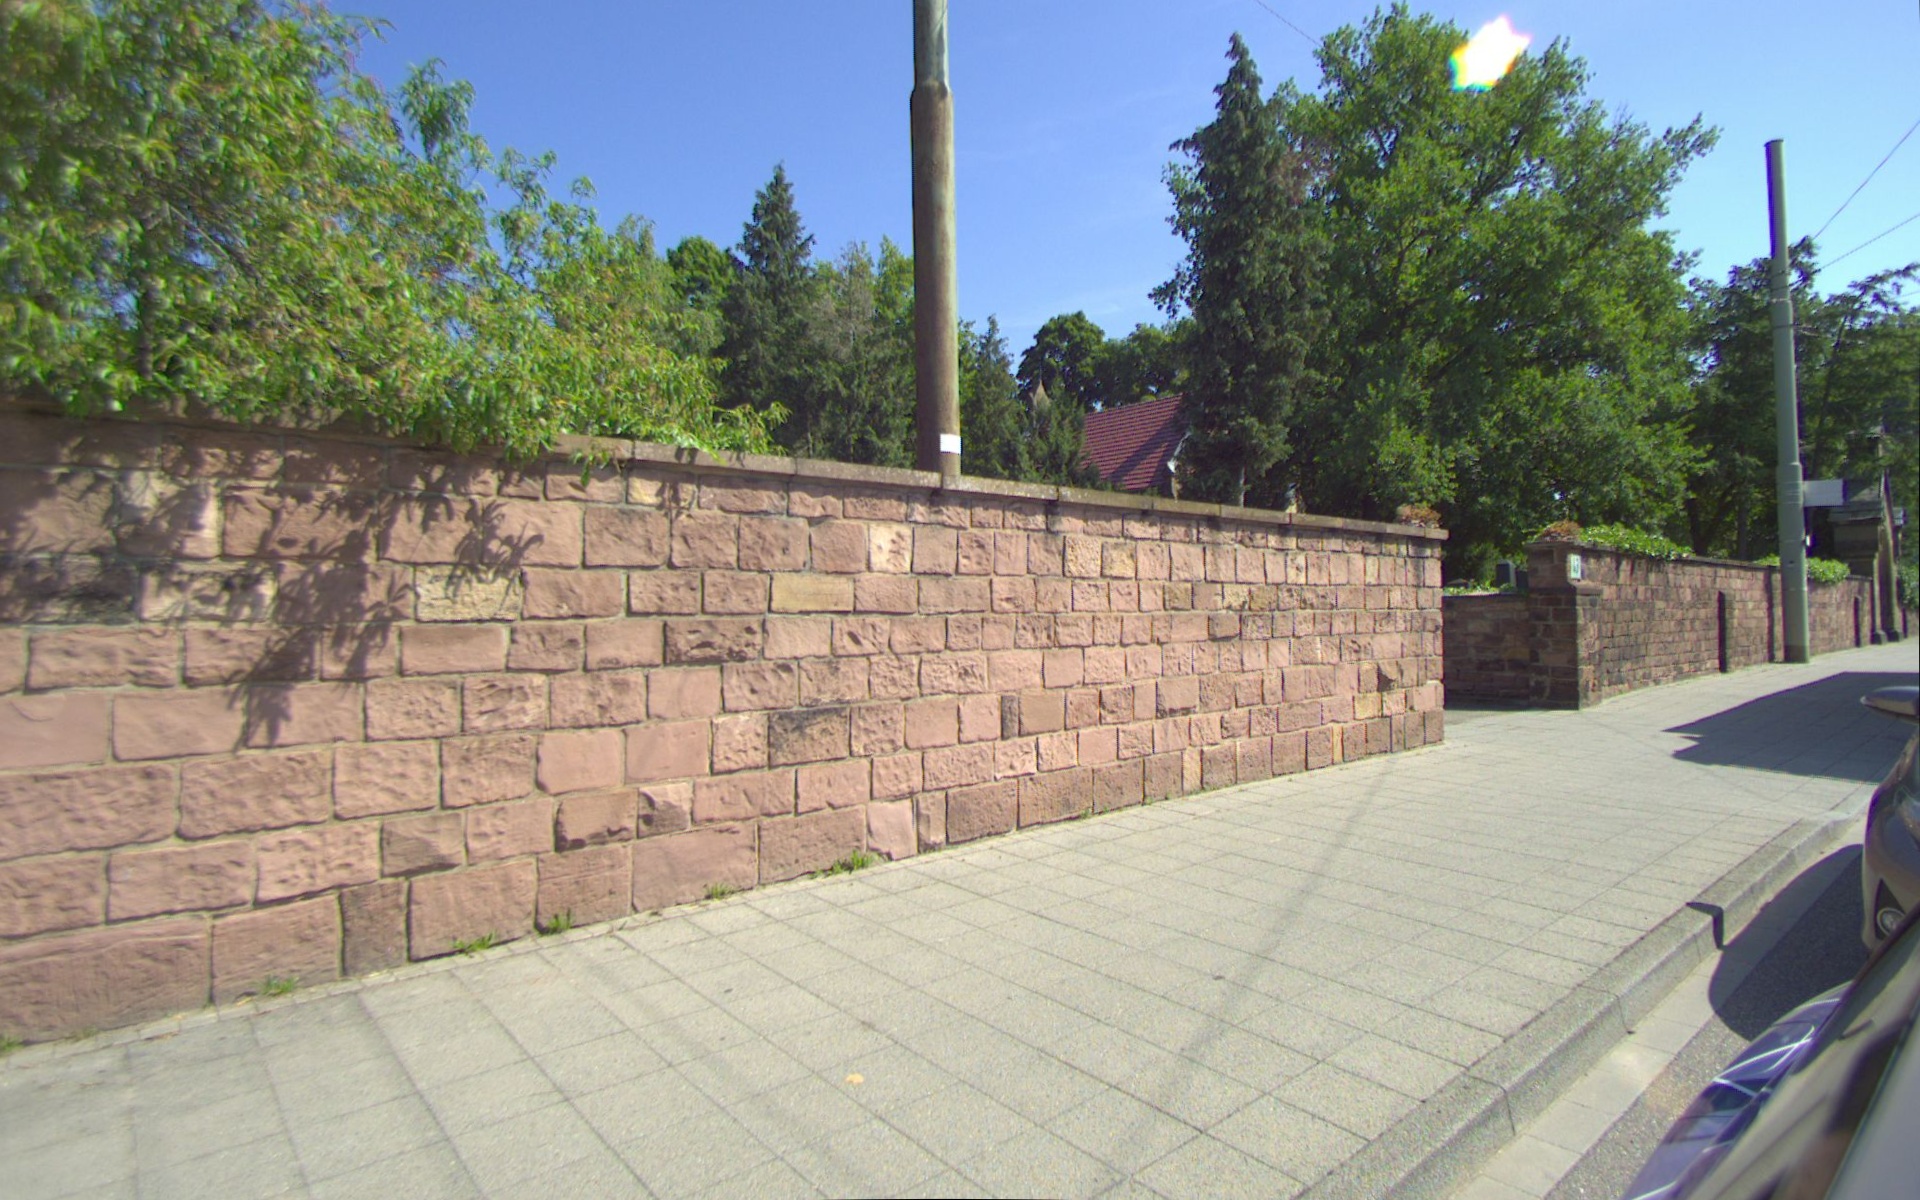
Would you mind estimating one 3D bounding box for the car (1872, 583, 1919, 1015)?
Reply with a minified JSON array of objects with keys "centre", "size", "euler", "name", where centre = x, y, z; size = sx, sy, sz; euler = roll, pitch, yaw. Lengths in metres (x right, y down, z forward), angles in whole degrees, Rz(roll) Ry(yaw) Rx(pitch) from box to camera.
[{"centre":[5.048,0.643,4.036],"size":[3.930,1.400,1.653],"euler":[0,0,-41],"name":"car"}]
